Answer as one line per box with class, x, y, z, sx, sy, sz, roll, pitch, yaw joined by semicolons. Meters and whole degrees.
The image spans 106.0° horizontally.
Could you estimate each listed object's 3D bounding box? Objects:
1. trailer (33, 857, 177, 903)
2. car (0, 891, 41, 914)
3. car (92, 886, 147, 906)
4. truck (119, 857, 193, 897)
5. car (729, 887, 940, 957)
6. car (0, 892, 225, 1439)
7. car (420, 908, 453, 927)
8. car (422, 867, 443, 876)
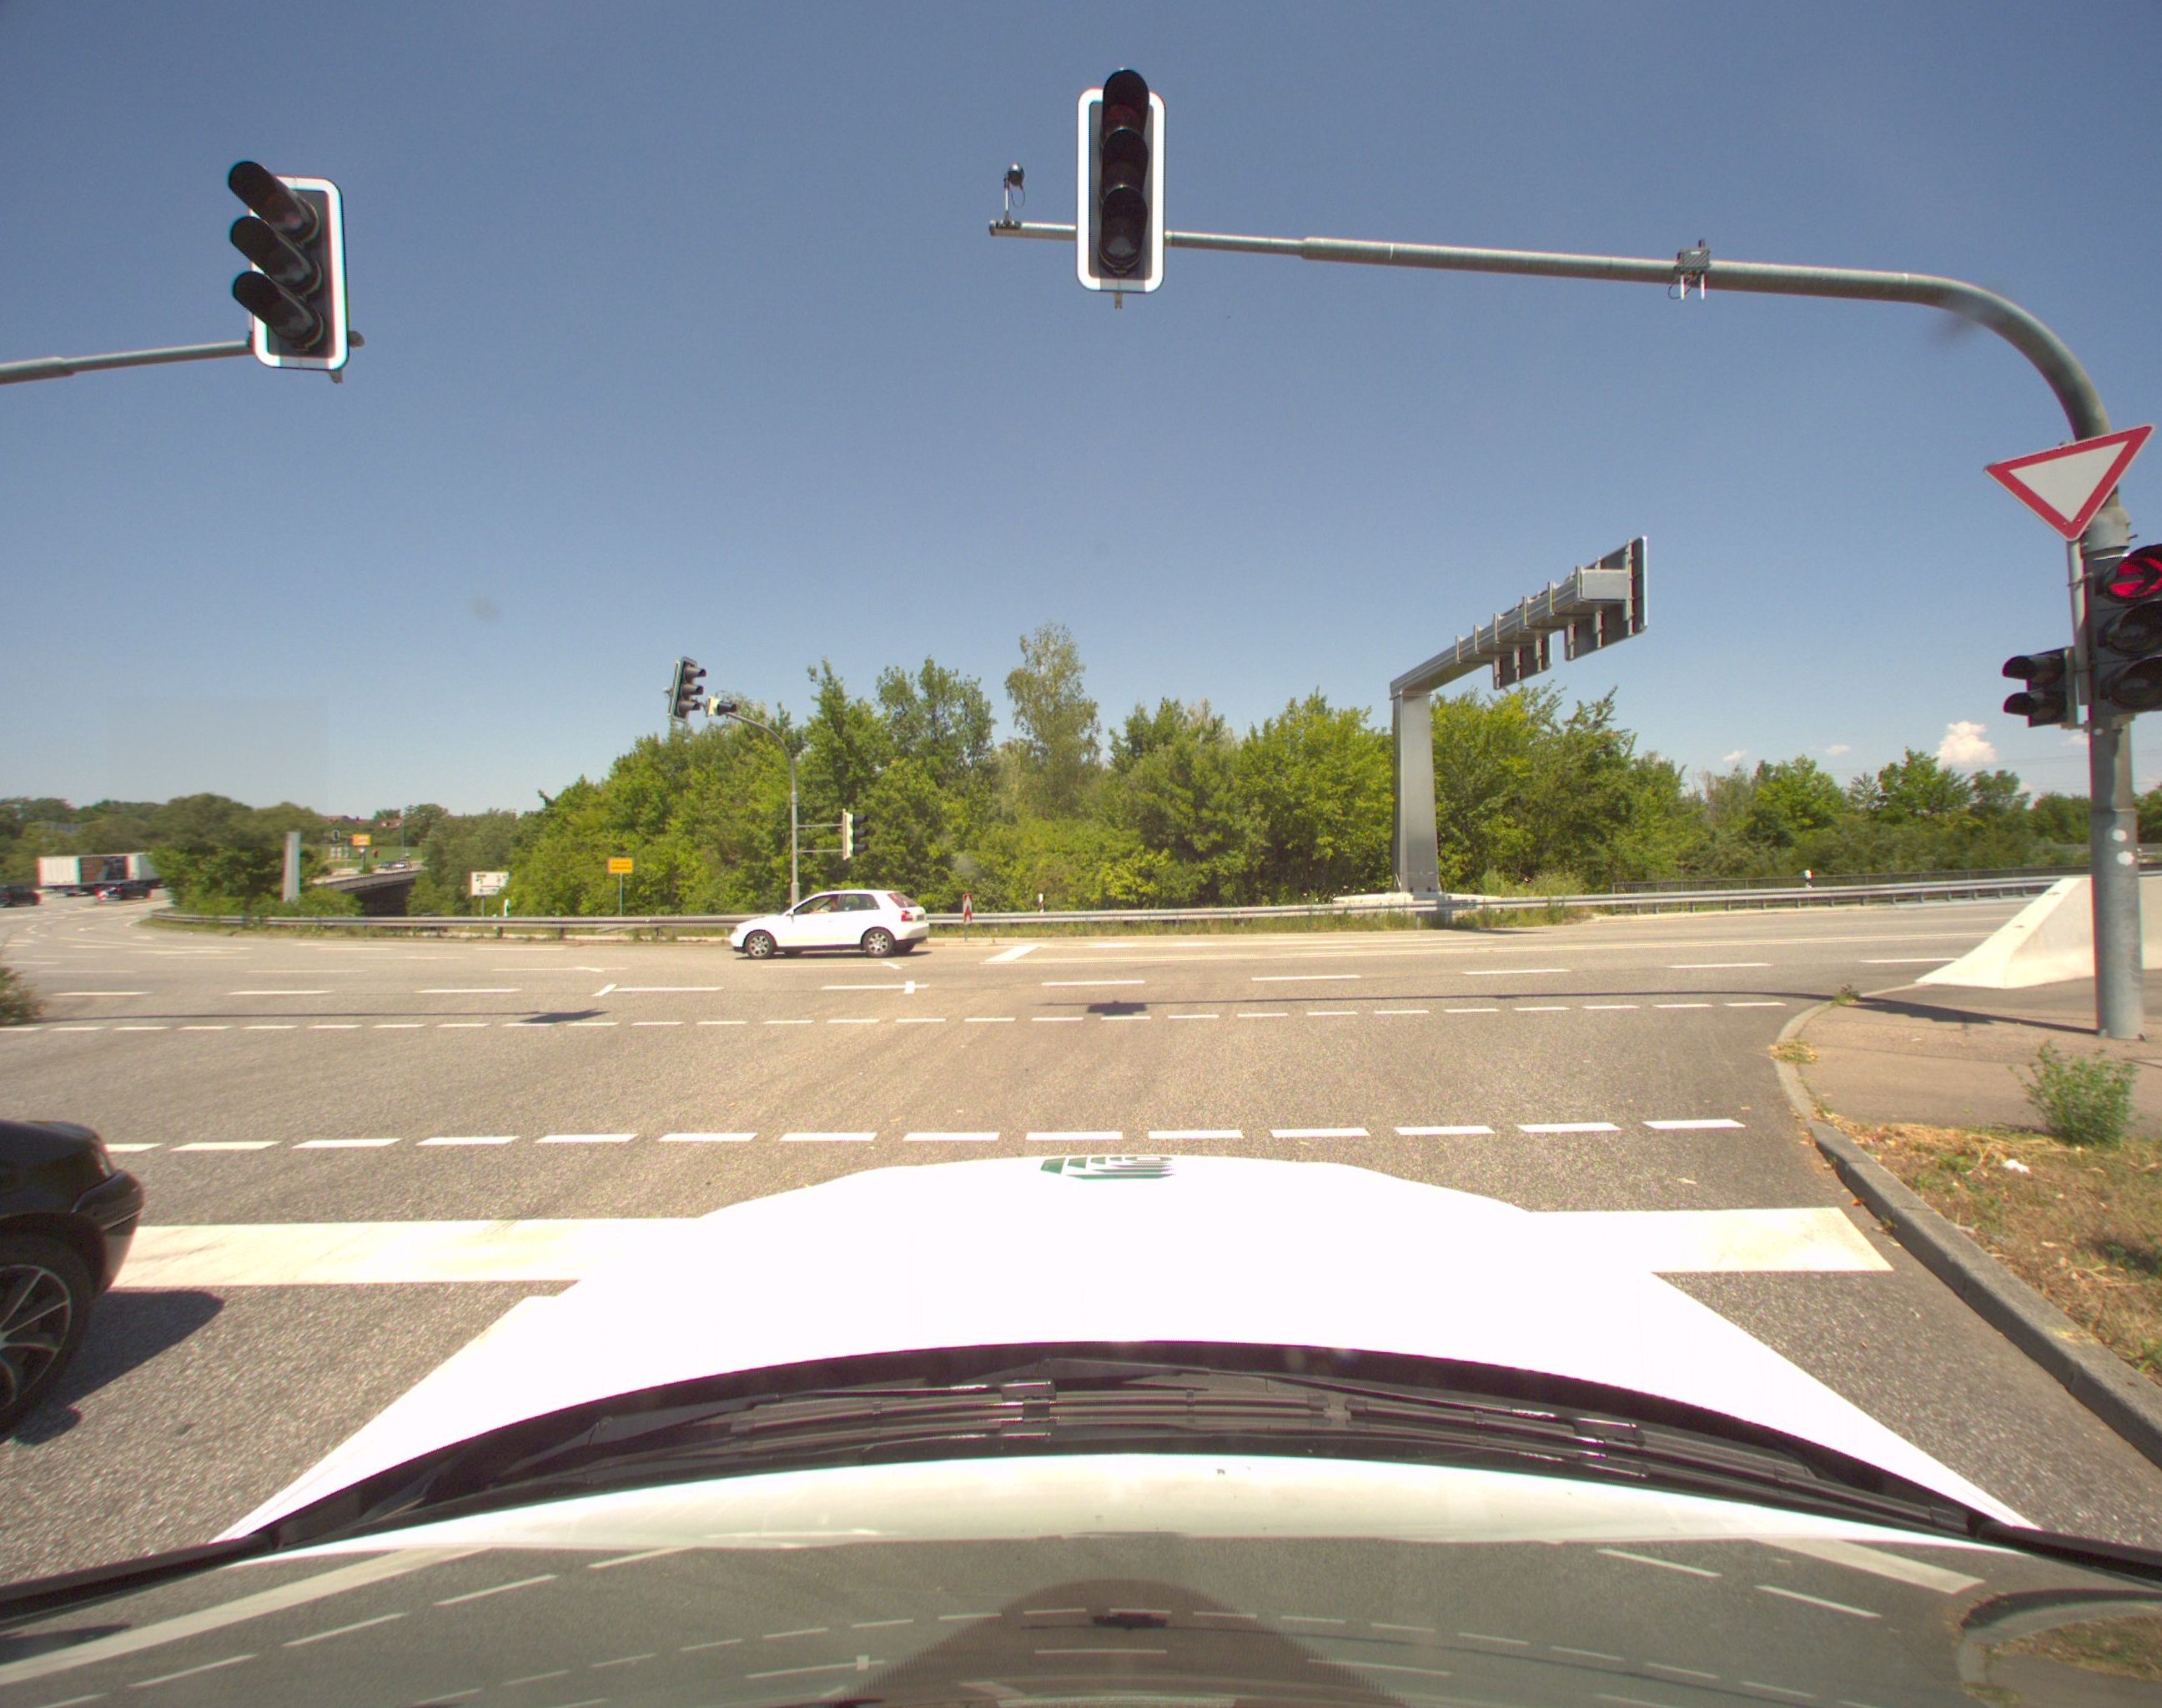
trailer;-101.502;2.521;85.276;3.247;4.248;15.283;0;0;-24
car;-89.514;4.029;68.007;1.891;1.732;3.961;0;-1;-30
car;-89.651;3.869;76.010;1.887;1.622;3.965;0;0;-27
truck;-104.598;2.519;92.201;3.247;4.248;6.187;0;0;-24
car;-5.201;1.451;17.487;3.959;1.396;1.648;-1;-4;4
car;-3.603;0.829;1.027;1.615;1.407;3.297;-1;-1;-2
car;-50.749;5.014;64.199;1.819;1.434;4.364;3;-5;-36
car;-130.942;3.570;164.578;1.773;1.674;3.771;-1;0;-12
